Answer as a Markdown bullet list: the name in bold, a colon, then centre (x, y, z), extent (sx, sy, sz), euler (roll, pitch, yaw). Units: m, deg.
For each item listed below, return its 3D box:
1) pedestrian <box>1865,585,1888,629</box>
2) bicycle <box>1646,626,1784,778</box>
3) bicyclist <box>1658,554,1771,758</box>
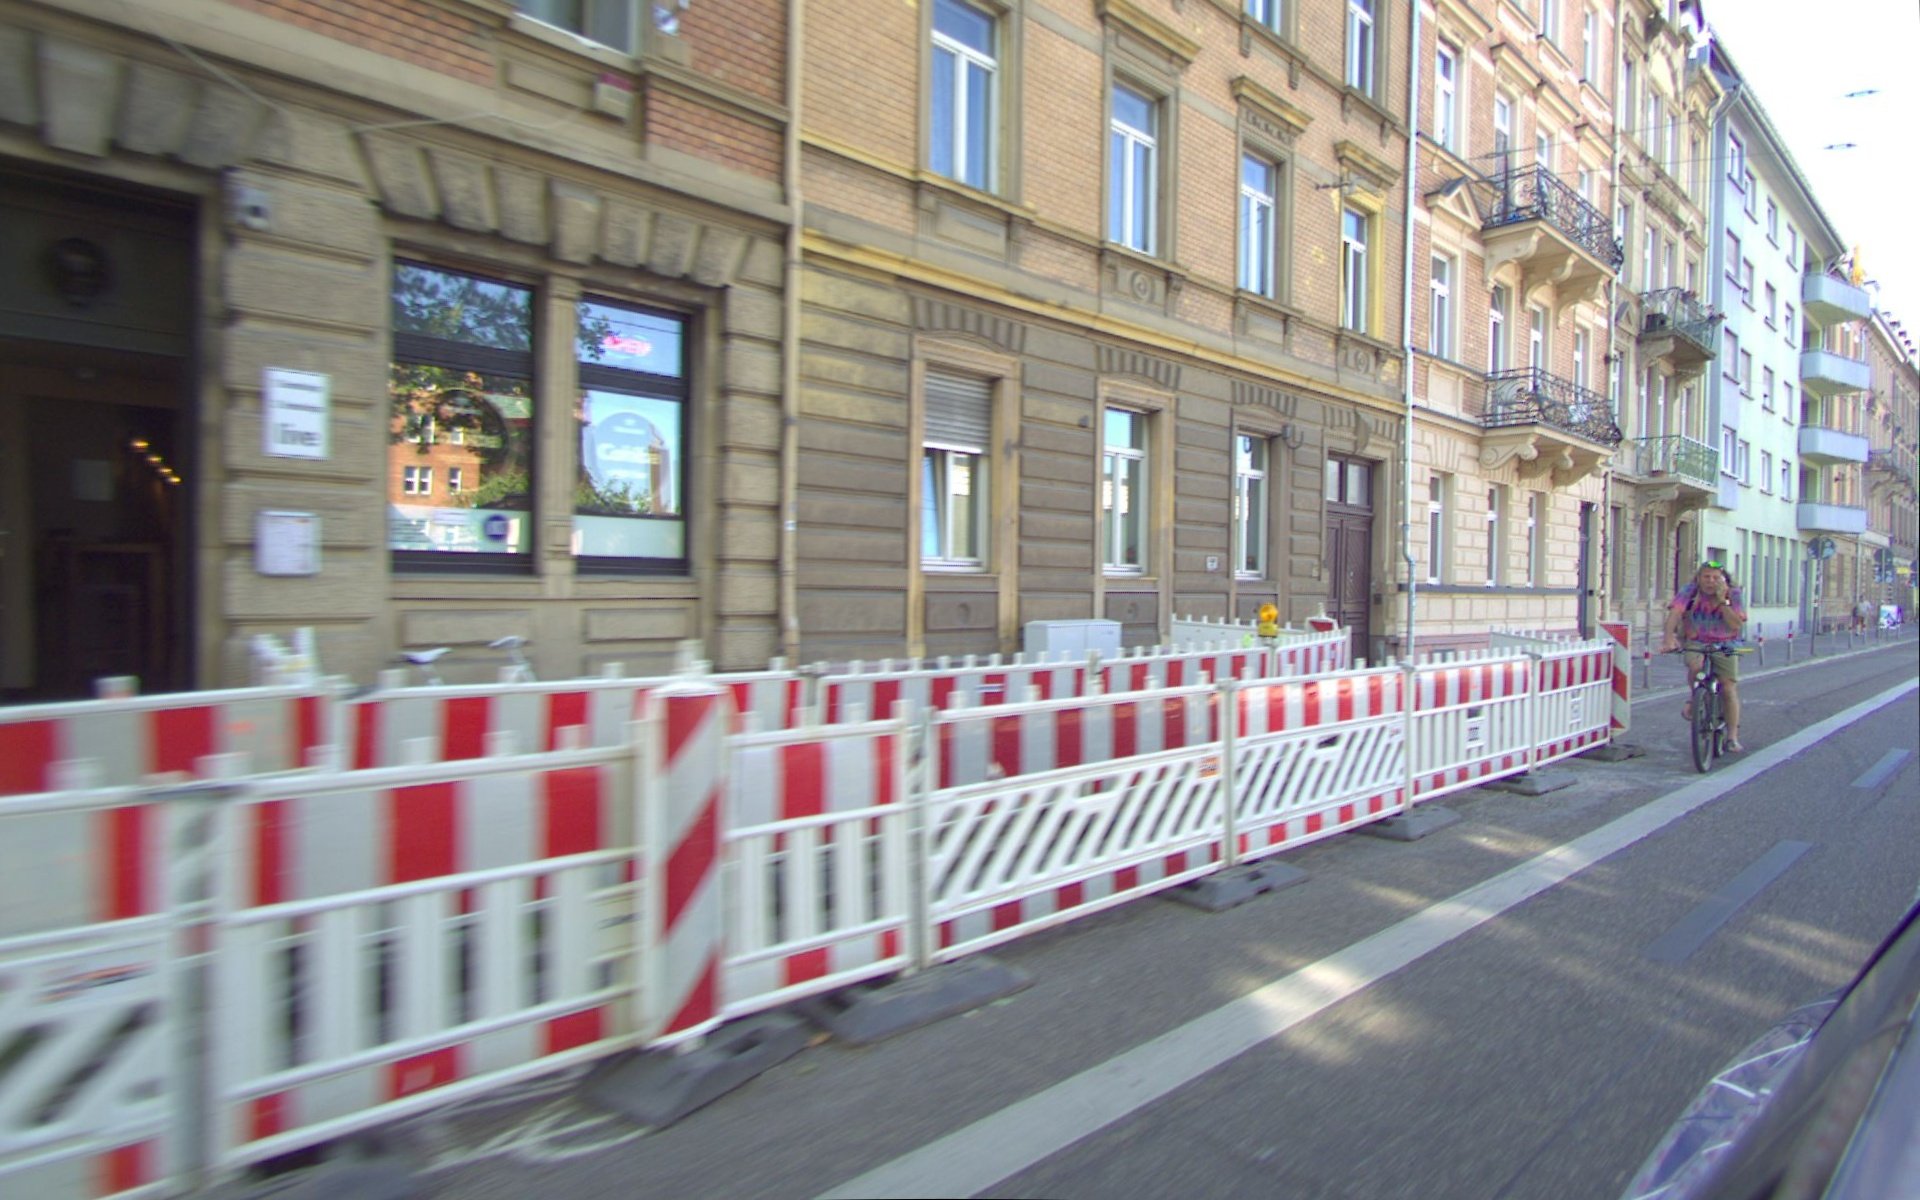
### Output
- **pedestrian**: centre (37.142, 0.277, 41.003), extent (0.465, 1.721, 0.554), euler (0, 3, -41)
- **bicycle**: centre (6.959, 0.842, 9.263), extent (0.681, 1.128, 2.664), euler (-1, 0, 44)
- **bicyclist**: centre (6.796, 0.464, 9.106), extent (0.667, 1.718, 1.026), euler (-1, 0, 44)
